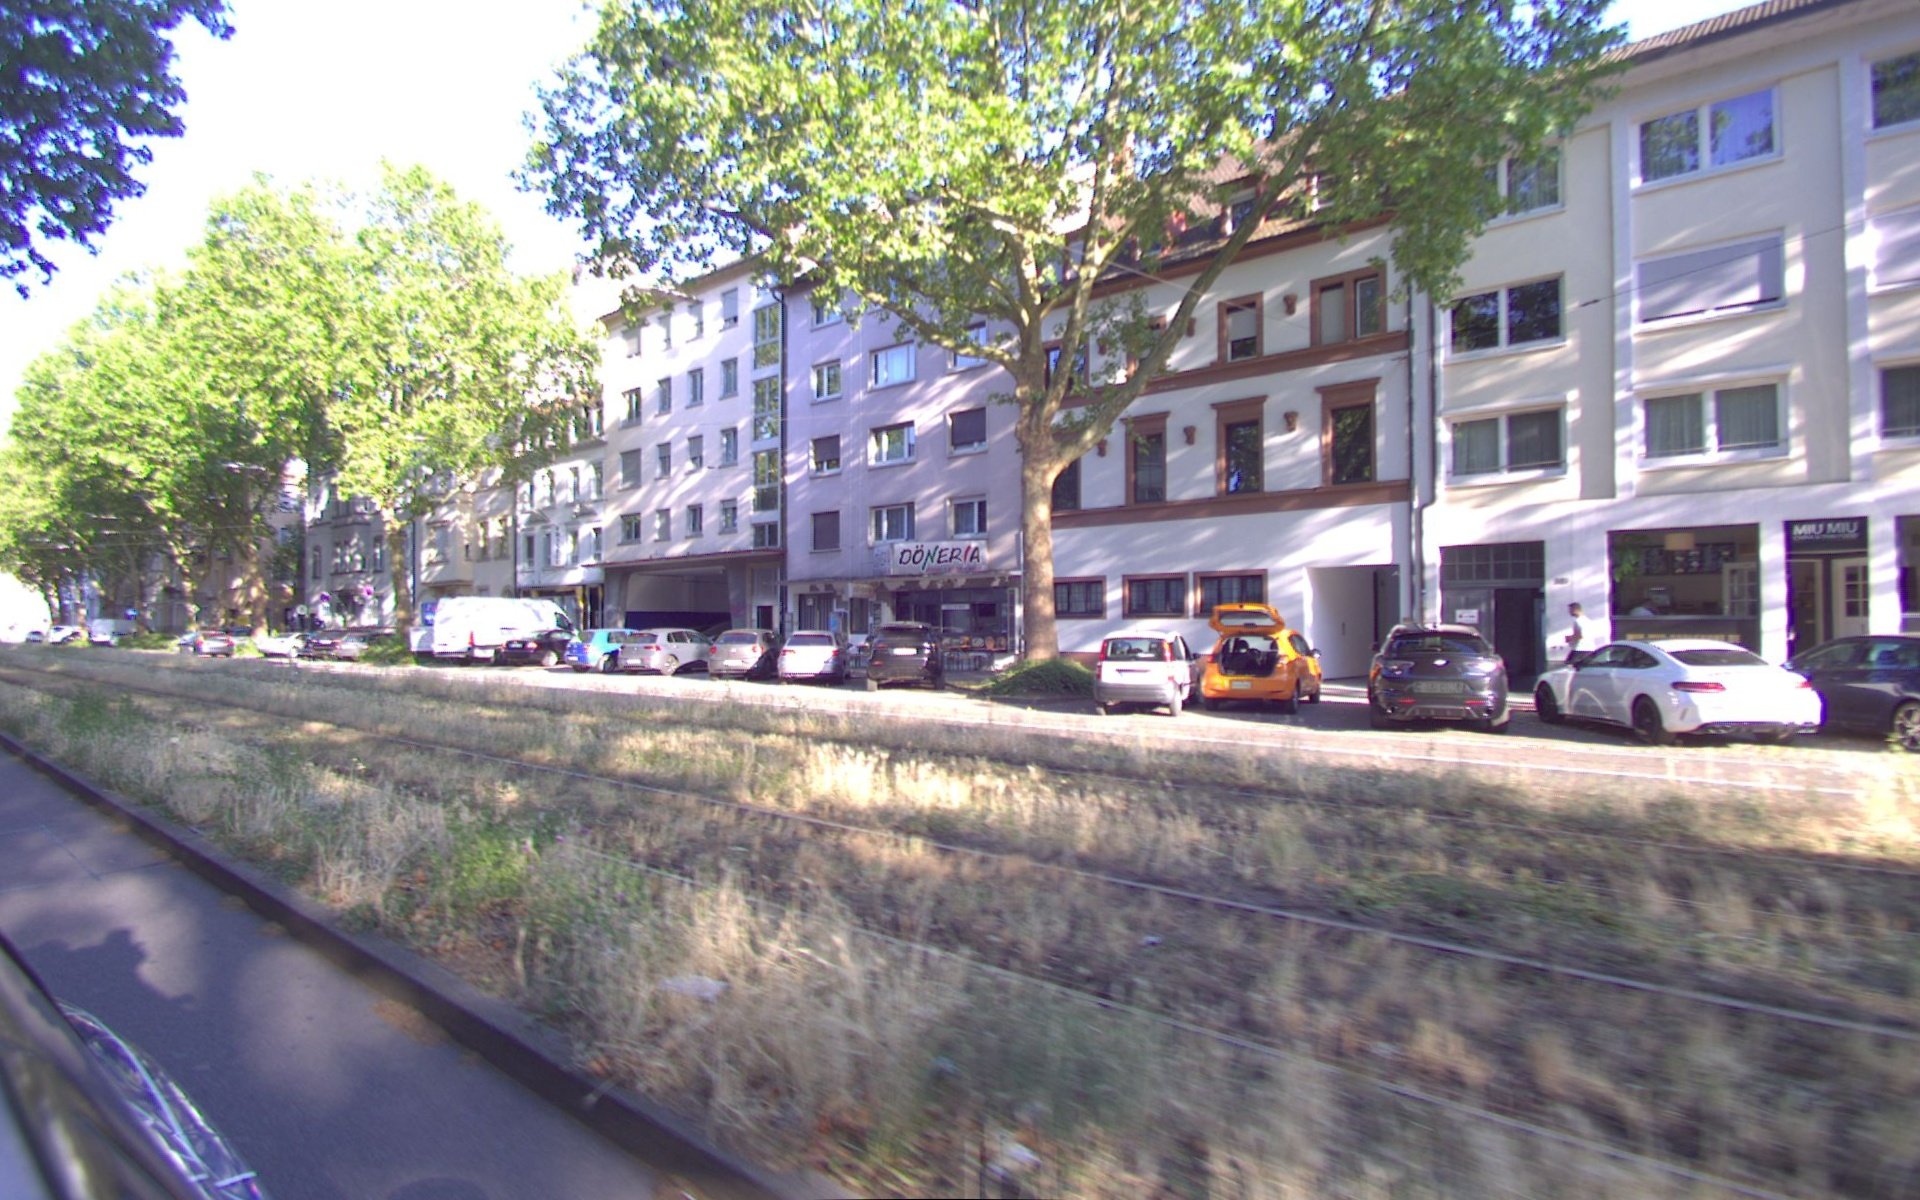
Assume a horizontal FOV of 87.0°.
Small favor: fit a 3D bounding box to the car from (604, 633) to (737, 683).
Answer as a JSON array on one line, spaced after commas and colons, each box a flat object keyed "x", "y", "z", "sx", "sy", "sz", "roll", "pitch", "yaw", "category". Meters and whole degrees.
[{"x": -9.241, "y": 1.809, "z": 32.595, "sx": 1.941, "sy": 1.503, "sz": 3.962, "roll": -1, "pitch": -2, "yaw": 27, "category": "car"}]

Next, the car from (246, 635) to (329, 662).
[{"x": -37.084, "y": 2.650, "z": 55.928, "sx": 1.806, "sy": 1.400, "sz": 3.669, "roll": -1, "pitch": -2, "yaw": 10, "category": "car"}]

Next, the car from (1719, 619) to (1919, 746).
[{"x": 12.596, "y": 1.039, "z": 13.513, "sx": 1.776, "sy": 1.452, "sz": 4.001, "roll": -1, "pitch": 0, "yaw": -2, "category": "car"}]

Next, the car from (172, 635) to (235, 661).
[{"x": -41.892, "y": 2.642, "z": 56.005, "sx": 4.481, "sy": 1.400, "sz": 1.801, "roll": -2, "pitch": -4, "yaw": 41, "category": "car"}]

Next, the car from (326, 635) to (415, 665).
[{"x": -28.402, "y": 2.416, "z": 48.901, "sx": 1.779, "sy": 1.368, "sz": 4.001, "roll": 0, "pitch": -3, "yaw": 4, "category": "car"}]

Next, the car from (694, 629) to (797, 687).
[{"x": -6.217, "y": 1.657, "z": 29.787, "sx": 1.735, "sy": 1.433, "sz": 3.992, "roll": -1, "pitch": 0, "yaw": 7, "category": "car"}]

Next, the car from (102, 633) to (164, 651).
[{"x": -70.863, "y": 3.614, "z": 86.789, "sx": 1.710, "sy": 1.256, "sz": 3.992, "roll": -1, "pitch": 1, "yaw": 7, "category": "car"}]

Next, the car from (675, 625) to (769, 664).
[{"x": -10.999, "y": 2.032, "z": 46.960, "sx": 1.904, "sy": 1.733, "sz": 3.947, "roll": -1, "pitch": -2, "yaw": 40, "category": "car"}]

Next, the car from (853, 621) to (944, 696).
[{"x": -1.431, "y": 1.374, "z": 25.062, "sx": 1.972, "sy": 1.673, "sz": 3.999, "roll": -1, "pitch": -1, "yaw": 0, "category": "car"}]

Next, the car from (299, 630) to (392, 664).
[{"x": -30.900, "y": 2.399, "z": 51.040, "sx": 1.912, "sy": 1.605, "sz": 4.154, "roll": 0, "pitch": -4, "yaw": 4, "category": "car"}]

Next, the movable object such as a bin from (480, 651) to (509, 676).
[{"x": -19.997, "y": 2.712, "z": 43.472, "sx": 0.865, "sy": 1.030, "sz": 0.734, "roll": -1, "pitch": -2, "yaw": 29, "category": "movable object such as a bin"}]

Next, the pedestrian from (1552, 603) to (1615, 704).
[{"x": 12.293, "y": 1.038, "z": 19.987, "sx": 0.947, "sy": 1.914, "sz": 0.894, "roll": -1, "pitch": -1, "yaw": 28, "category": "pedestrian"}]

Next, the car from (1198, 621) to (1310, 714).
[{"x": 5.811, "y": 1.232, "z": 19.729, "sx": 1.764, "sy": 1.490, "sz": 3.972, "roll": -1, "pitch": 0, "yaw": 21, "category": "car"}]

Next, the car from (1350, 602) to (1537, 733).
[{"x": 7.665, "y": 1.065, "z": 16.513, "sx": 1.976, "sy": 1.800, "sz": 4.342, "roll": 0, "pitch": -3, "yaw": 15, "category": "car"}]

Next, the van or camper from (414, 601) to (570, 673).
[{"x": -18.634, "y": 1.453, "z": 40.669, "sx": 2.163, "sy": 2.666, "sz": 5.927, "roll": -1, "pitch": -2, "yaw": 20, "category": "van or camper"}]

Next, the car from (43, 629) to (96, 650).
[{"x": -91.968, "y": 4.075, "z": 104.575, "sx": 1.971, "sy": 2.029, "sz": 4.001, "roll": -1, "pitch": 0, "yaw": -1, "category": "car"}]

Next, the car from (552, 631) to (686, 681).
[{"x": -11.507, "y": 1.832, "z": 34.337, "sx": 1.855, "sy": 1.431, "sz": 3.950, "roll": -1, "pitch": 0, "yaw": 37, "category": "car"}]

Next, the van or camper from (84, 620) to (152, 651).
[{"x": -73.154, "y": 3.090, "z": 88.027, "sx": 2.171, "sy": 2.418, "sz": 4.363, "roll": -1, "pitch": 1, "yaw": 1, "category": "van or camper"}]

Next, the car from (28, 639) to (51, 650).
[{"x": -125.643, "y": 6.048, "z": 138.137, "sx": 4.000, "sy": 1.431, "sz": 1.972, "roll": -1, "pitch": 0, "yaw": 43, "category": "car"}]

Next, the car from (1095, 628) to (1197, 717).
[{"x": 3.708, "y": 1.311, "z": 19.663, "sx": 1.643, "sy": 1.460, "sz": 4.343, "roll": -1, "pitch": -1, "yaw": 14, "category": "car"}]

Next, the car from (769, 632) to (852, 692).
[{"x": -4.013, "y": 1.643, "z": 27.718, "sx": 1.884, "sy": 1.396, "sz": 4.003, "roll": -1, "pitch": -1, "yaw": -4, "category": "car"}]

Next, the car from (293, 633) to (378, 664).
[{"x": -33.059, "y": 2.586, "z": 53.701, "sx": 1.803, "sy": 1.545, "sz": 3.993, "roll": 0, "pitch": -3, "yaw": 5, "category": "car"}]

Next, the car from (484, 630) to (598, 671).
[{"x": -16.283, "y": 1.944, "z": 39.523, "sx": 1.984, "sy": 1.502, "sz": 3.974, "roll": -1, "pitch": -2, "yaw": 19, "category": "car"}]

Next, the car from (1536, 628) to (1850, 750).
[{"x": 10.217, "y": 1.167, "z": 14.572, "sx": 1.700, "sy": 1.343, "sz": 4.199, "roll": -1, "pitch": 0, "yaw": 5, "category": "car"}]
